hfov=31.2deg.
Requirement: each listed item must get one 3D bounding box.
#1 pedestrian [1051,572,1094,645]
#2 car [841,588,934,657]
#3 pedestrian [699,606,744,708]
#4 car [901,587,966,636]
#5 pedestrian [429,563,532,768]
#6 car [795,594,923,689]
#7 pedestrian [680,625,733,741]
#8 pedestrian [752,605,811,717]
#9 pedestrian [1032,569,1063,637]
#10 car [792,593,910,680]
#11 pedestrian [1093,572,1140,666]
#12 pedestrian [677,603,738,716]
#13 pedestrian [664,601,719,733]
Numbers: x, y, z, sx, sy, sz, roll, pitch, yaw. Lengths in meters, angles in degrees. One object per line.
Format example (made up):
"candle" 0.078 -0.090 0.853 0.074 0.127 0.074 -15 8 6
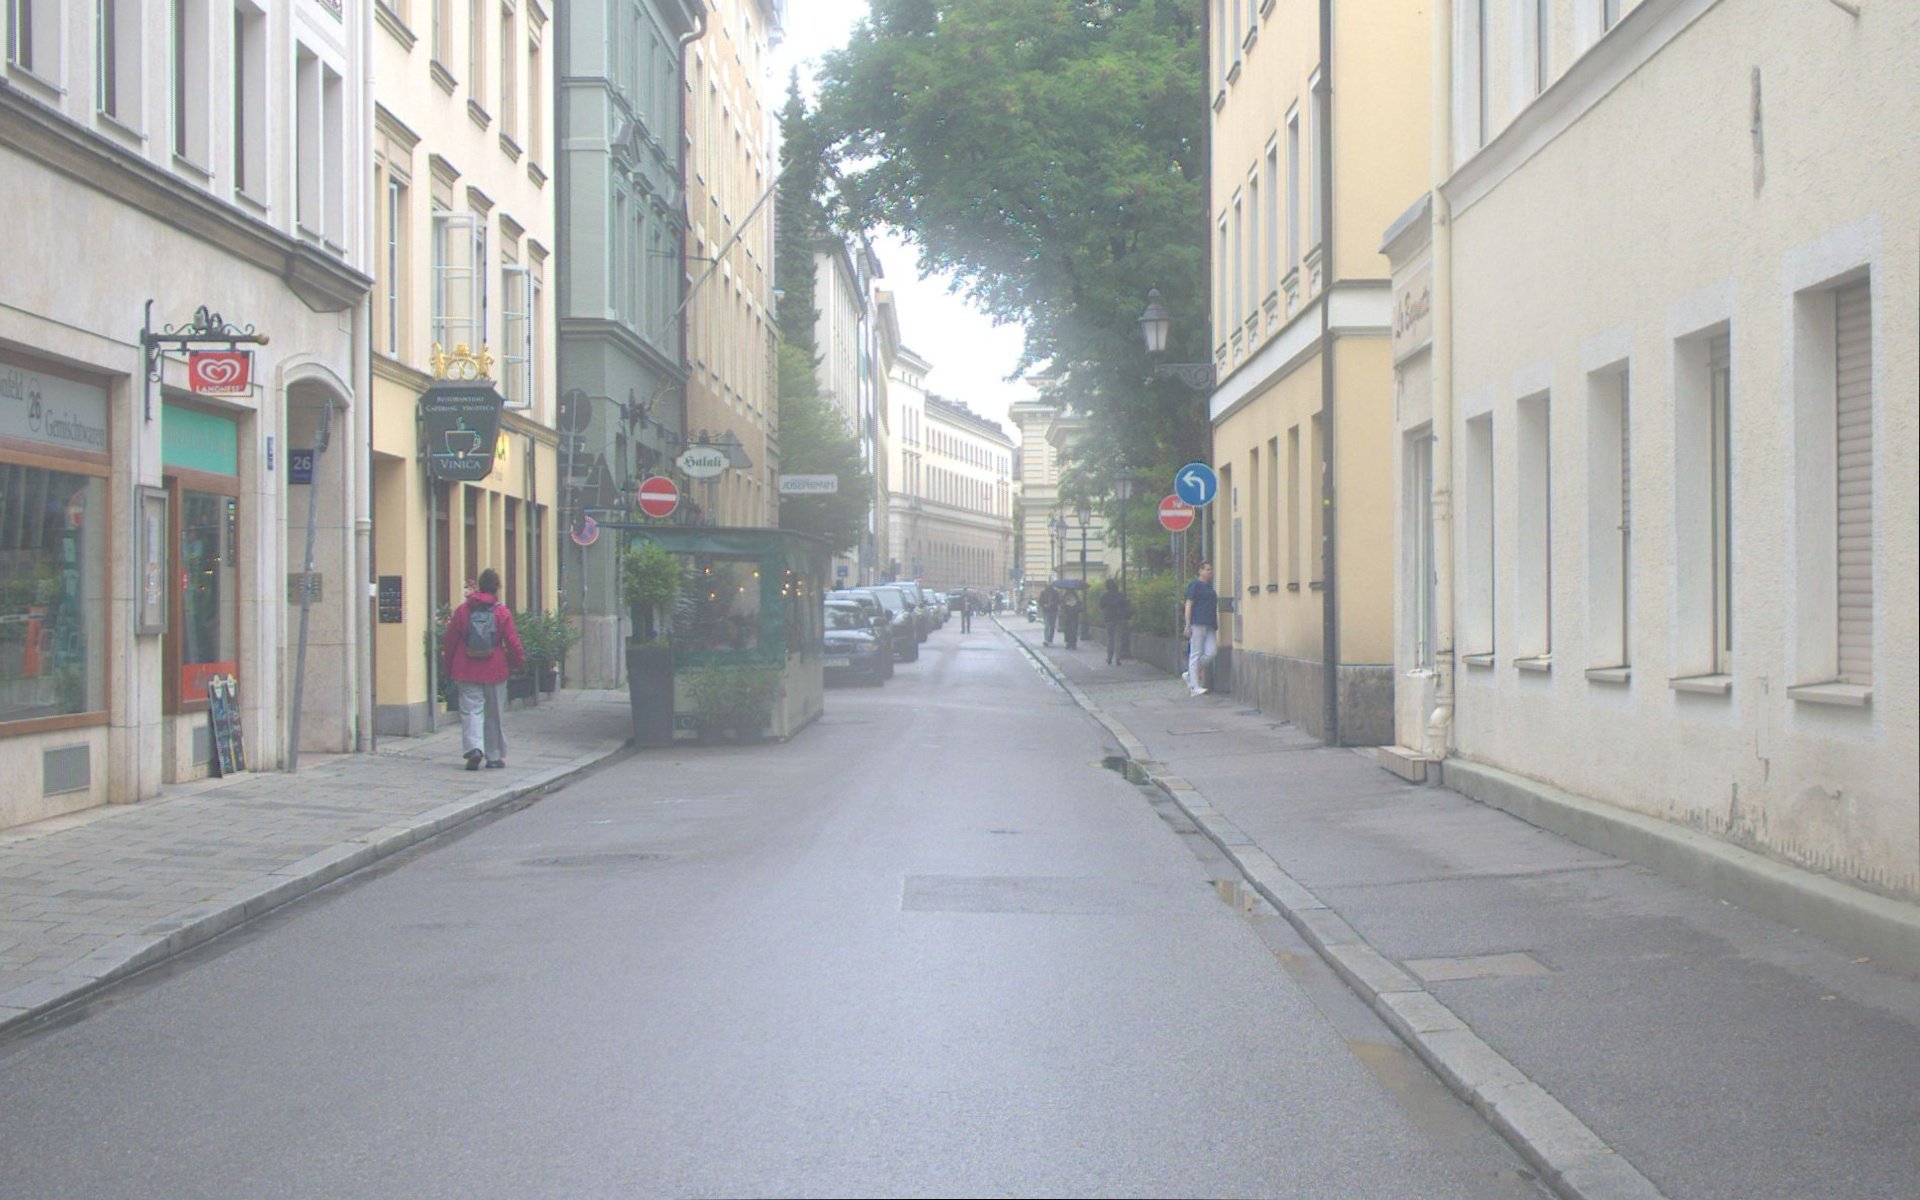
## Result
"pedestrian" 2.801 0.200 85.650 1.015 1.796 1.349 1 0 1
"car" -1.588 0.479 76.109 1.779 1.461 3.541 1 0 3
"pedestrian" -2.934 0.694 42.294 0.509 1.233 0.631 1 0 -1
"car" -0.795 0.339 105.829 1.779 1.461 3.541 1 0 3
"pedestrian" -4.052 0.544 29.101 0.765 1.702 0.785 0 0 -2
"car" -1.618 0.656 56.394 1.779 1.461 3.662 1 0 3
"pedestrian" -2.653 0.863 35.965 0.509 1.183 0.631 1 0 -1
"pedestrian" -2.133 0.722 41.088 0.673 1.322 0.696 1 0 -1
"pedestrian" 2.329 0.085 91.546 0.793 1.796 0.903 1 0 1
"car" -1.909 0.631 61.155 1.779 1.461 3.541 1 0 3
"pedestrian" 3.033 0.367 66.714 0.880 1.796 1.046 1 0 1
"pedestrian" -3.024 0.708 41.234 0.673 1.322 0.696 1 0 -1
"pedestrian" -2.731 0.673 34.977 0.509 1.322 0.631 1 0 -1
